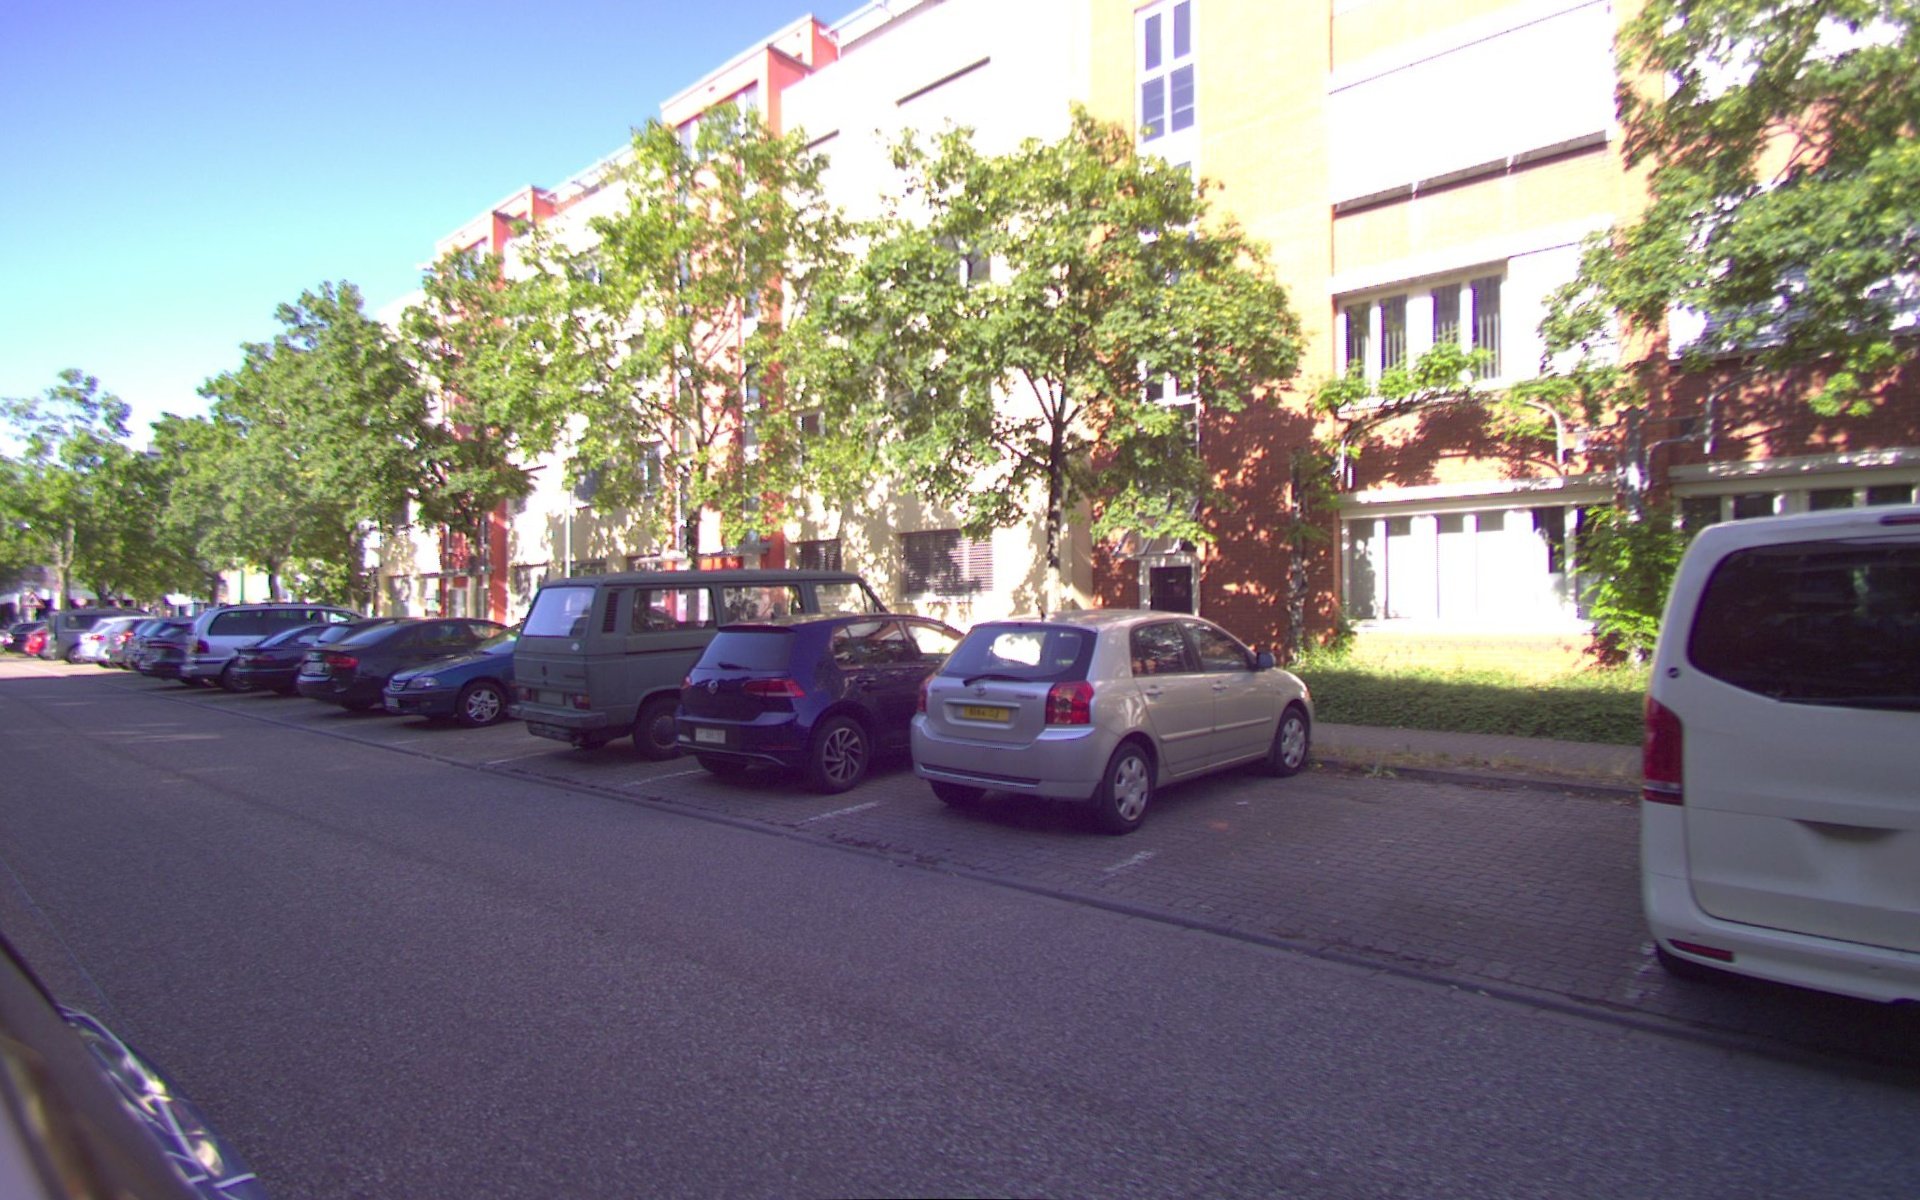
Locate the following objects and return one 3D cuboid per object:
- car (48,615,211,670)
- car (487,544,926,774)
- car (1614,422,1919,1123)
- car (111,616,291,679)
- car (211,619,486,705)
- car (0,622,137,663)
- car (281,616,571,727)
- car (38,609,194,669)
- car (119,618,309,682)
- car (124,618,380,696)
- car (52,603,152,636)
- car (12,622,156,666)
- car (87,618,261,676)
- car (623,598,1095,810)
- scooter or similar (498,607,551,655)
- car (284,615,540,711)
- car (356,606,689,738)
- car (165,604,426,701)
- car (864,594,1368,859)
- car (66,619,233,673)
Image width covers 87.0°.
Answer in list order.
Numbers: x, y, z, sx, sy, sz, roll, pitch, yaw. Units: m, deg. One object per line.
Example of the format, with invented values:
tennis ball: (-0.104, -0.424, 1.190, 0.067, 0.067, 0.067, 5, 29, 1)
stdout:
car: (-27.023, 1.333, 33.020, 1.858, 1.586, 3.852, -1, 0, 41)
car: (-2.711, 0.513, 11.594, 2.083, 2.105, 4.439, -1, 0, 43)
car: (4.598, 0.436, 4.651, 1.942, 1.982, 5.203, -1, 0, 41)
car: (-21.106, 1.258, 28.236, 1.858, 1.520, 3.688, -1, 0, 40)
car: (-11.844, 1.125, 19.846, 1.756, 1.368, 4.277, -1, 0, 40)
car: (-36.121, 1.670, 40.968, 1.740, 1.434, 4.214, -1, 0, 45)
car: (-8.323, 1.027, 15.995, 1.724, 1.438, 3.687, -1, 0, 41)
car: (-28.852, 1.281, 34.673, 1.785, 1.825, 3.851, -1, 0, 41)
car: (-19.531, 1.246, 26.598, 1.839, 1.438, 3.688, -1, 0, 40)
car: (-15.644, 1.190, 22.562, 1.771, 1.438, 4.359, -1, 0, 39)
car: (-56.637, 1.265, 66.904, 1.983, 2.000, 4.743, -2, -1, 18)
car: (-32.614, 1.599, 37.761, 1.739, 1.434, 3.851, -1, 0, 41)
car: (-23.100, 1.339, 29.840, 1.857, 1.458, 3.691, -1, 0, 37)
car: (-0.765, 0.785, 9.706, 1.943, 1.488, 4.273, -1, 0, 43)
scooter or similar: (-13.539, 0.958, 31.429, 2.108, 1.457, 0.647, -2, -3, 42)
car: (-9.784, 1.044, 18.271, 1.724, 1.438, 3.688, -1, 0, 40)
car: (-6.185, 0.918, 14.688, 1.724, 1.539, 4.089, -1, 0, 41)
car: (-13.832, 1.006, 21.227, 4.270, 1.730, 1.964, -2, 0, -44)
car: (1.480, 0.750, 8.170, 1.943, 1.488, 4.273, -1, 0, 43)
car: (-24.980, 1.369, 31.277, 1.873, 1.458, 3.691, -1, 0, 37)
